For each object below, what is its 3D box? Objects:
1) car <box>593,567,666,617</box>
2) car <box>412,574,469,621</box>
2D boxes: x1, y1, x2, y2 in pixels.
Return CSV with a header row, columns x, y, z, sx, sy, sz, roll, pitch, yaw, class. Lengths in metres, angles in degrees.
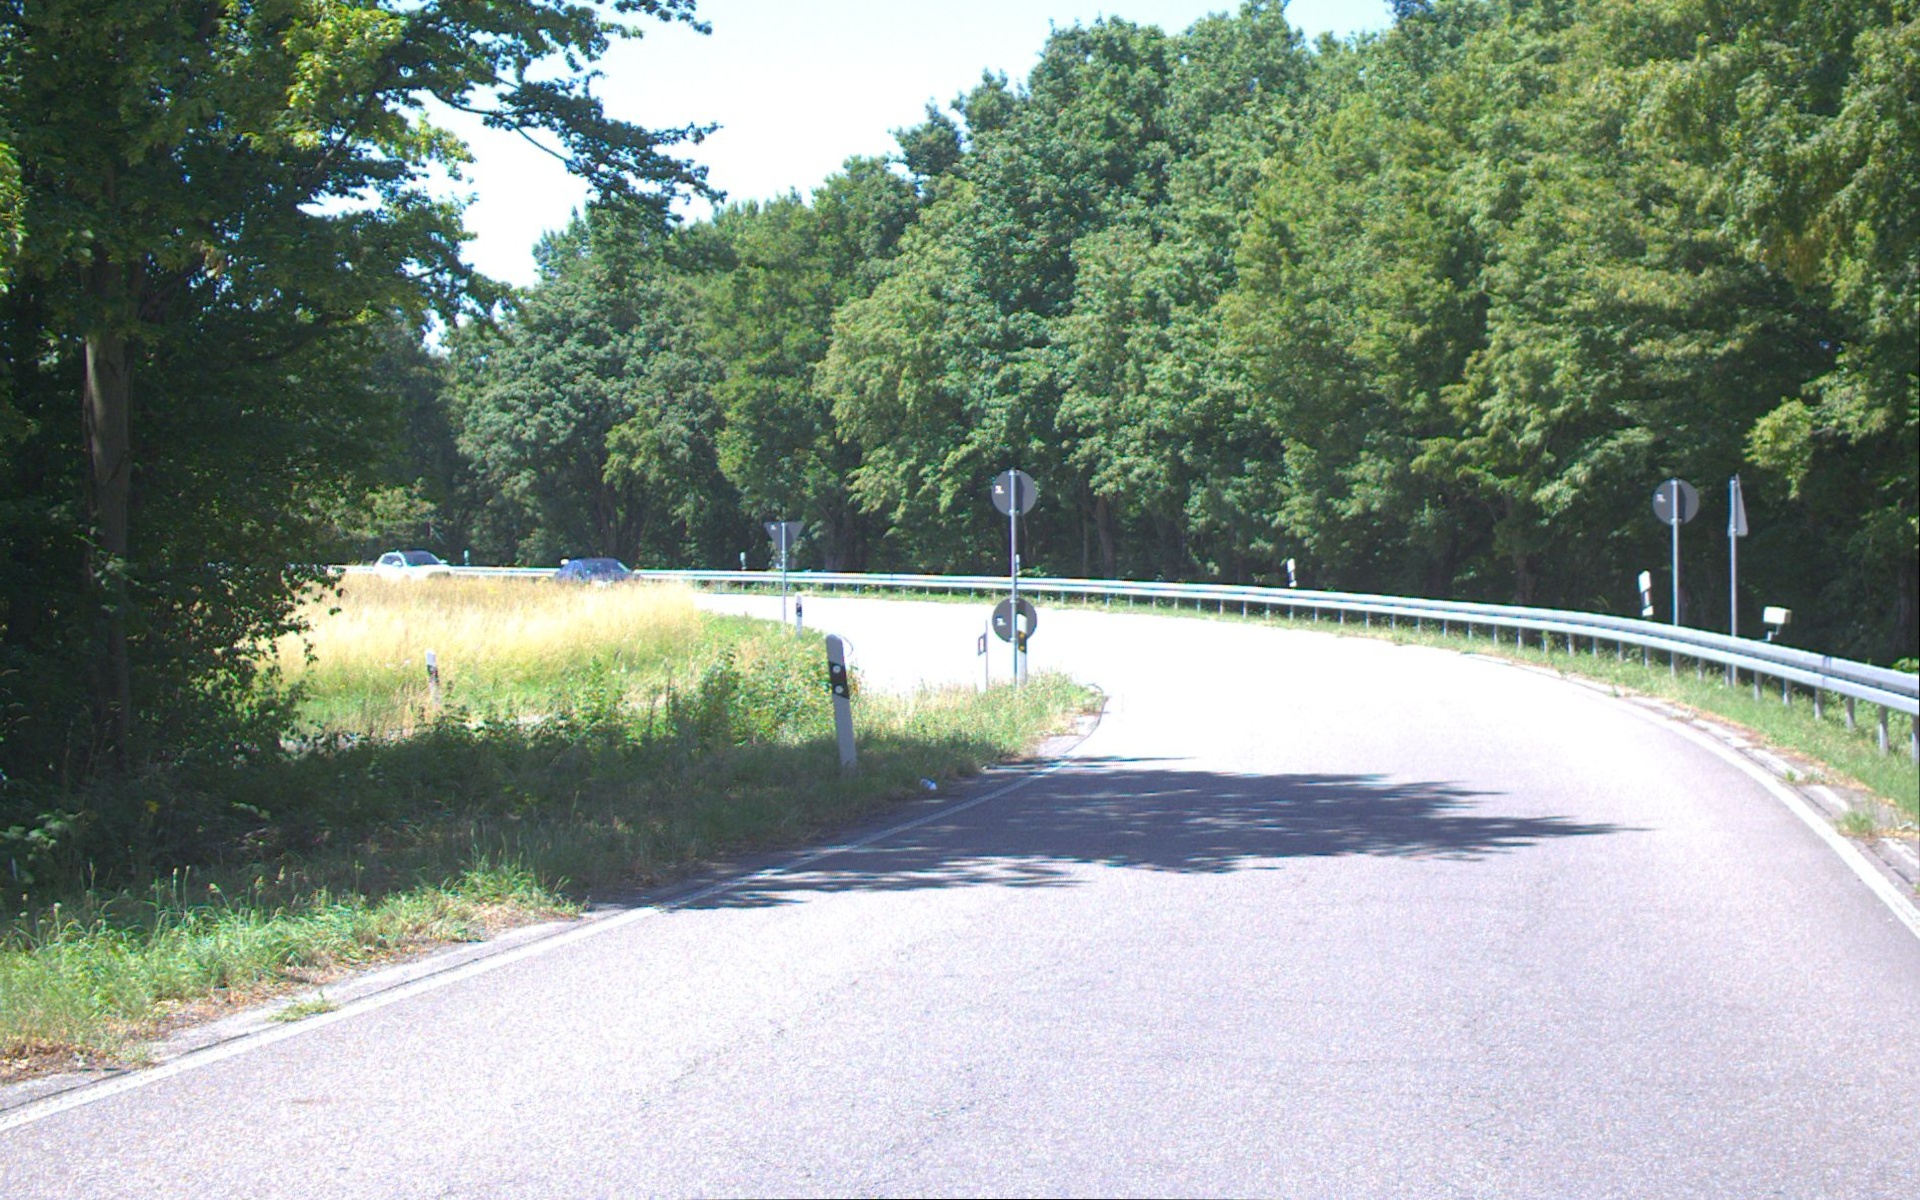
x,y,z,sx,sy,sz,roll,pitch,yaw,class
-10.757,-0.273,111.678,1.802,1.501,4.659,-3,1,-12,car
-19.156,-0.110,126.907,1.822,1.585,4.218,-4,1,-7,car
